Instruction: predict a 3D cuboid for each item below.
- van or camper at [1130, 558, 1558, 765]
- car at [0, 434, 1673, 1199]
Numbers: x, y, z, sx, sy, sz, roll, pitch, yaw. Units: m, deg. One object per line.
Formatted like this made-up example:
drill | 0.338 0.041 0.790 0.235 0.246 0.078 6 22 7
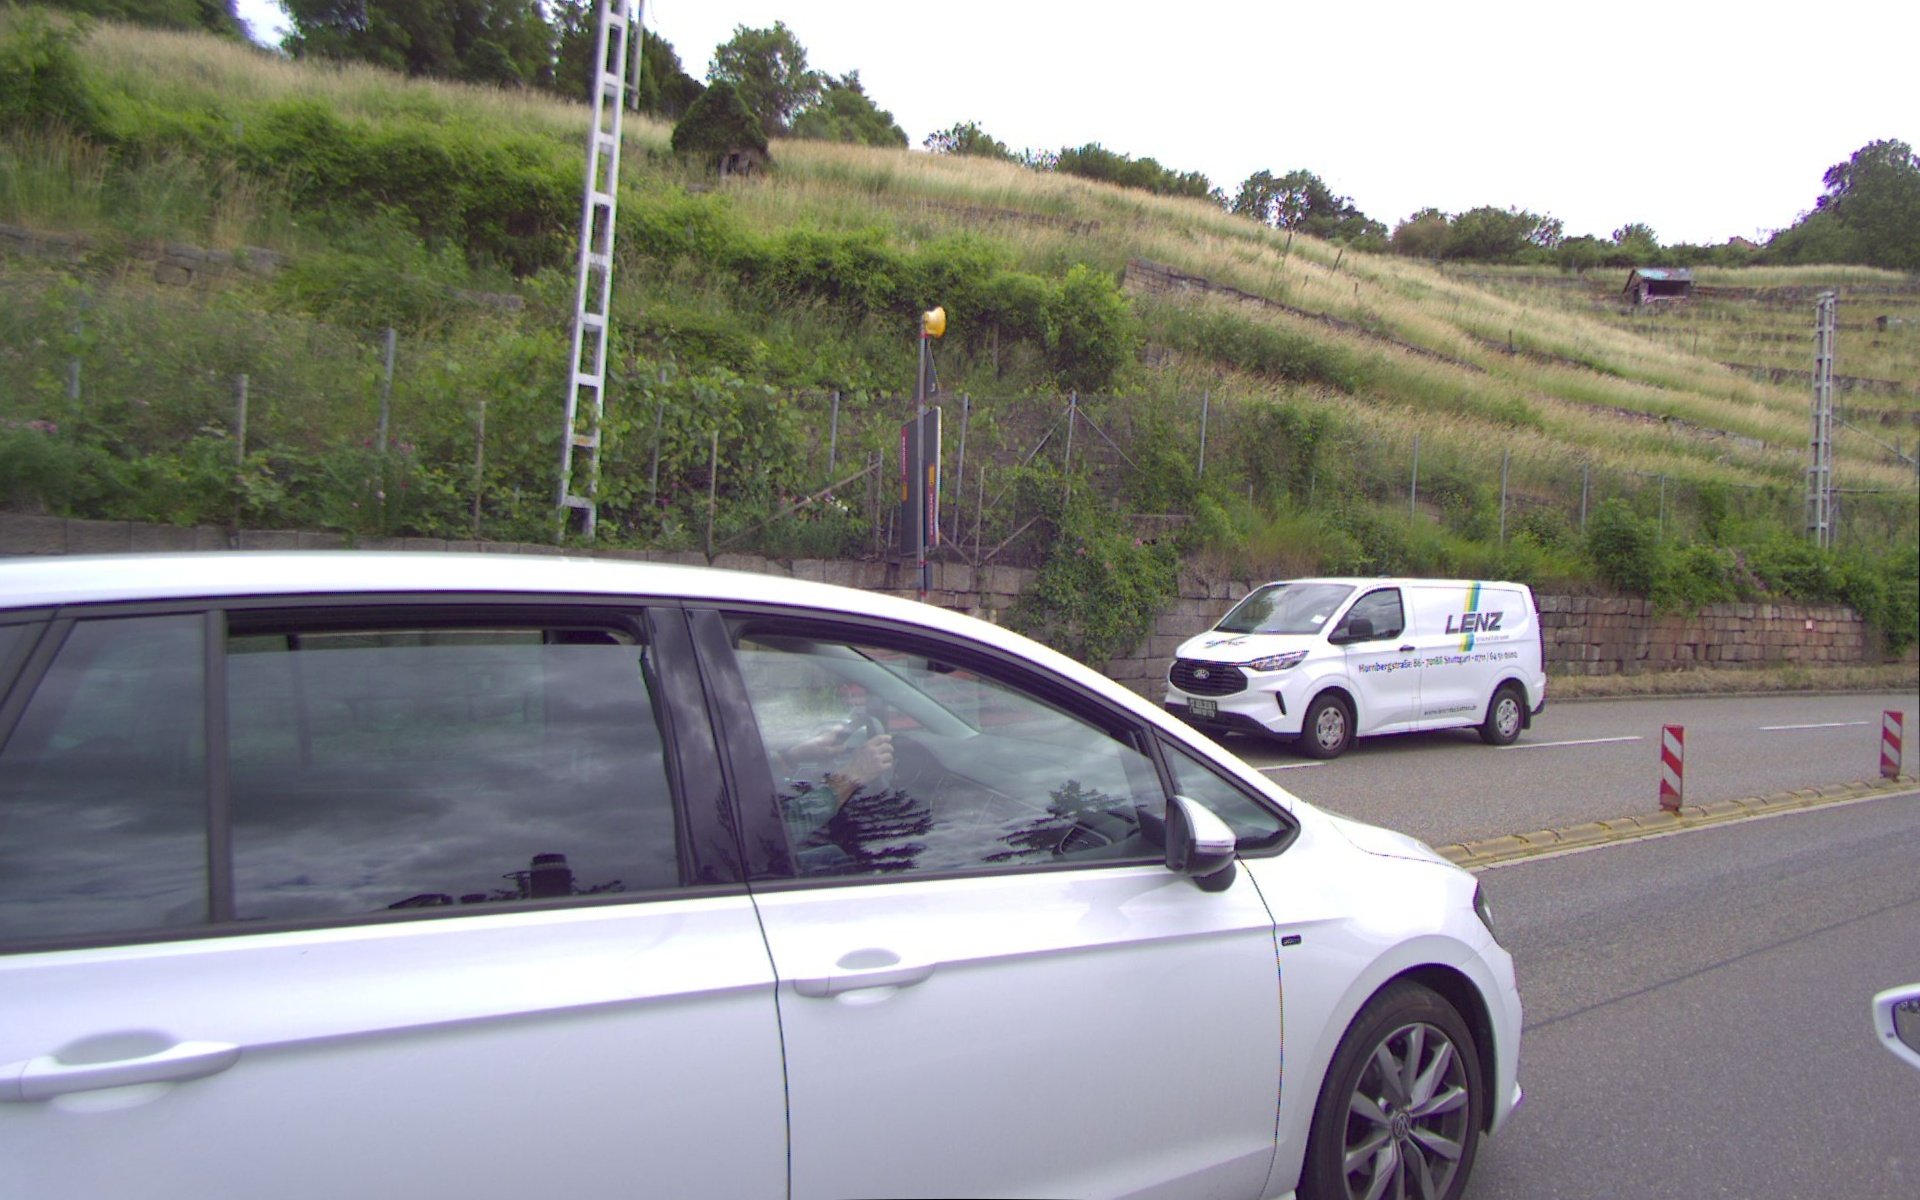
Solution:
van or camper | 4.669 0.616 12.074 4.903 2.043 2.138 1 1 -29
car | -0.381 0.679 2.441 4.304 1.601 1.813 1 -2 -30
